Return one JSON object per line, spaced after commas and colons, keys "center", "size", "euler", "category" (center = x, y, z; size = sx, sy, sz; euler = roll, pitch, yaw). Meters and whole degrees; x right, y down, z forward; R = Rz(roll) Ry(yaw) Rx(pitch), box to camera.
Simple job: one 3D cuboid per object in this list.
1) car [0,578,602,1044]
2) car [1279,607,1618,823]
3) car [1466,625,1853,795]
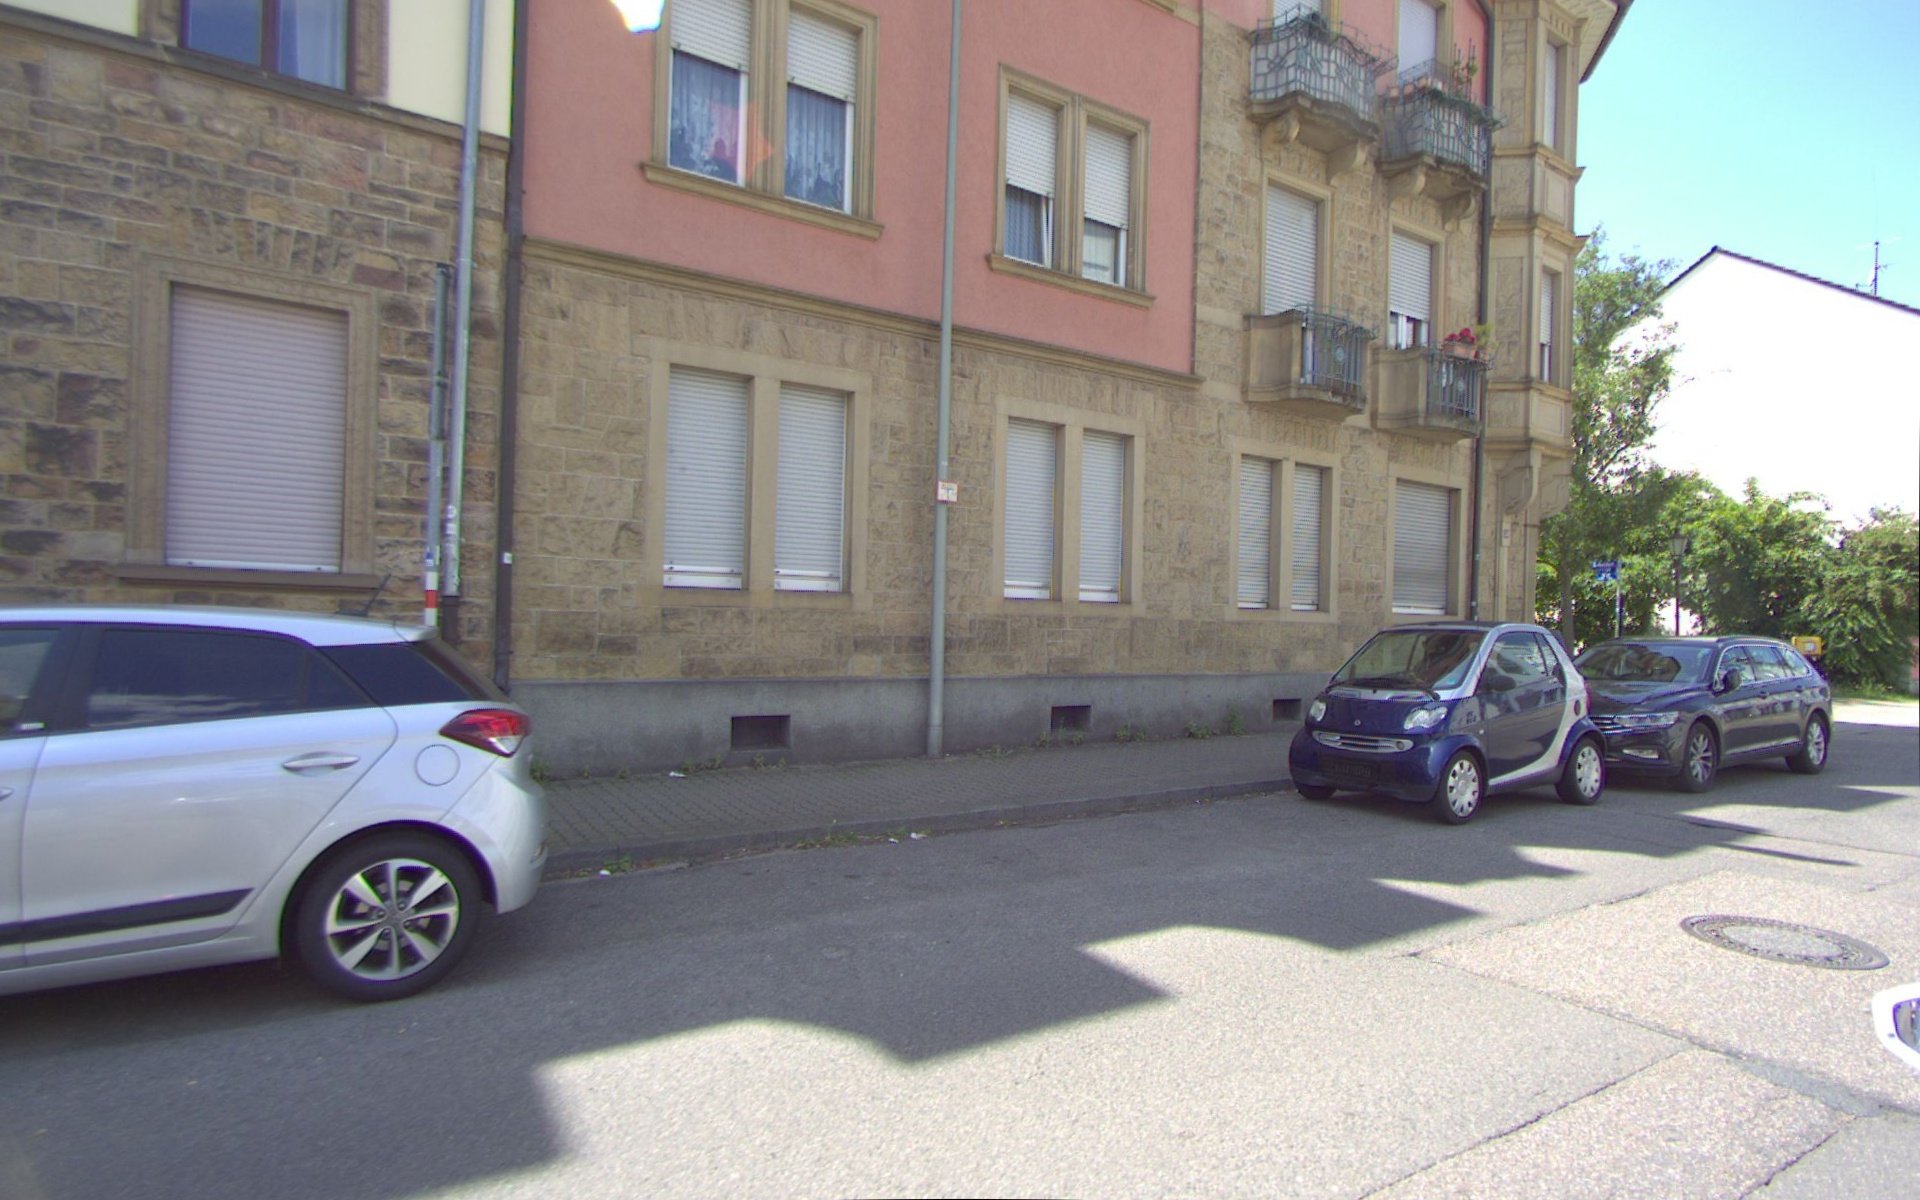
{"center": [-3.573, 0.669, 3.724], "size": [3.974, 1.450, 1.626], "euler": [2, -2, -32], "category": "car"}
{"center": [4.184, 0.883, 8.555], "size": [2.667, 1.543, 1.428], "euler": [3, -1, -33], "category": "car"}
{"center": [7.666, 1.082, 10.881], "size": [4.583, 1.477, 1.773], "euler": [3, -2, -32], "category": "car"}
